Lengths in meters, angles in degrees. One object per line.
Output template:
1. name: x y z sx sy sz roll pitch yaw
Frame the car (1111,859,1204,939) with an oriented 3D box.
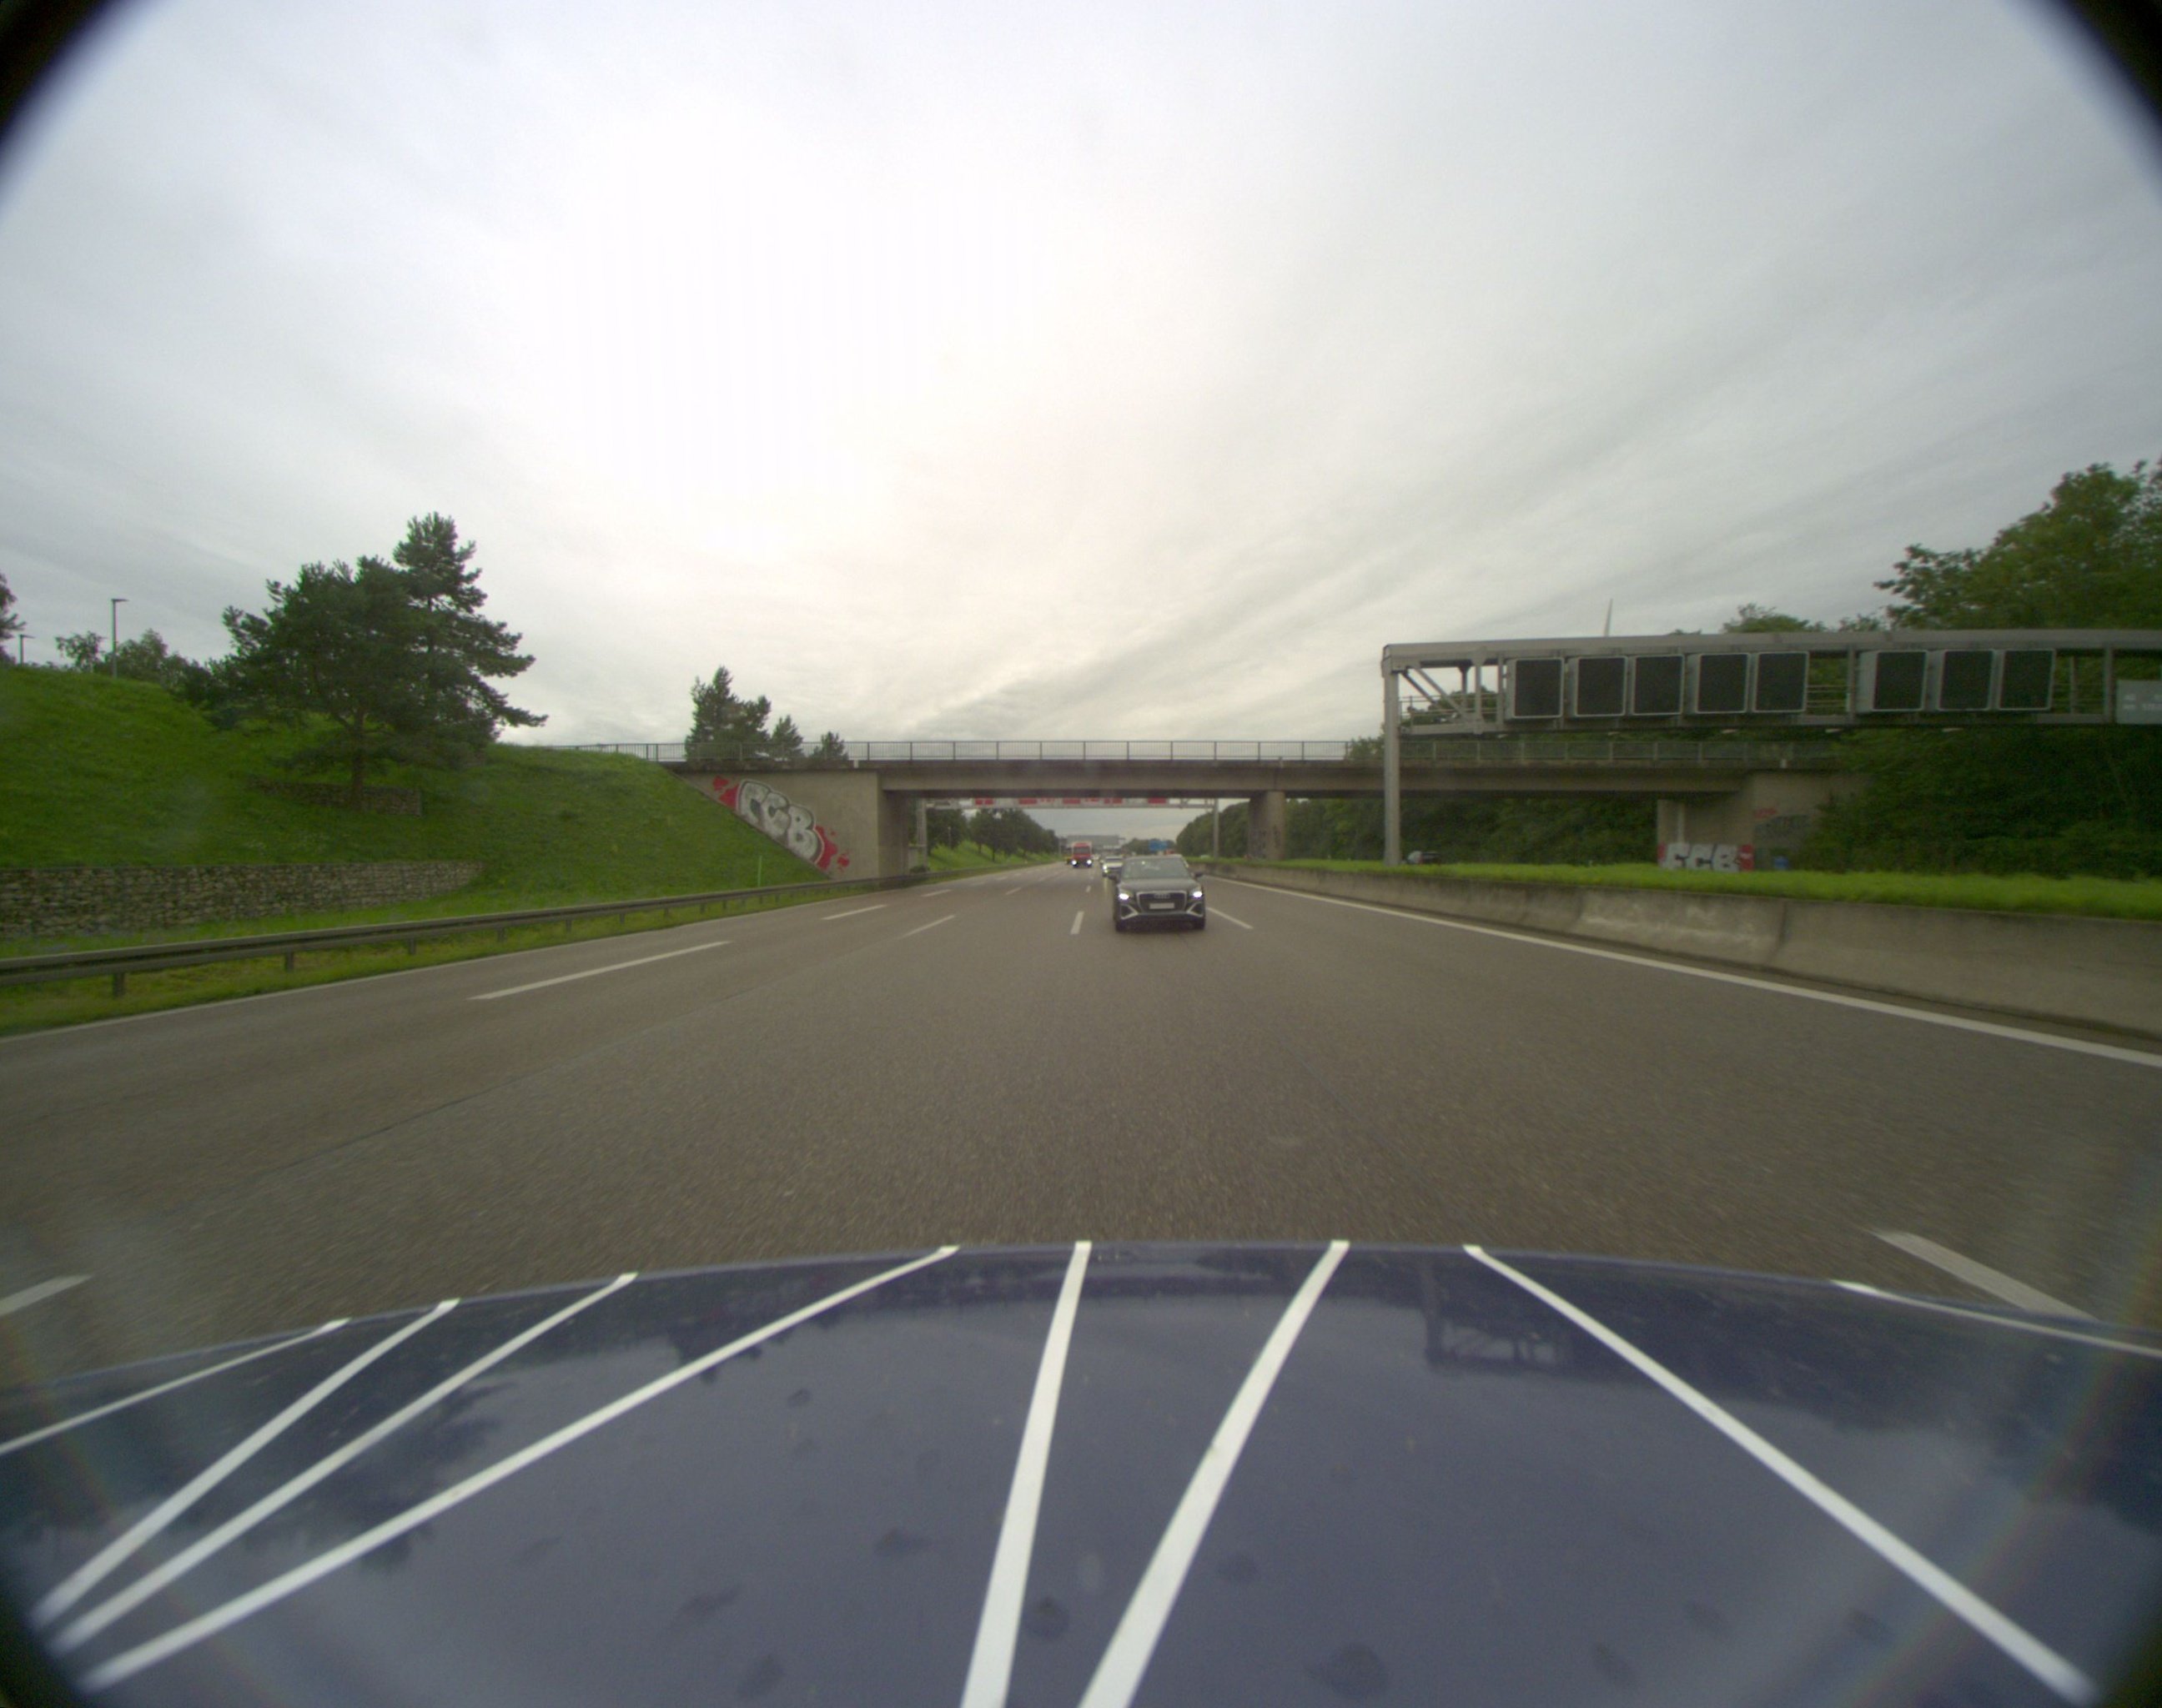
1. car: 1.522 0.865 16.076 1.616 1.403 3.326 -2 1 1

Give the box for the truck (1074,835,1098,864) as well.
1. truck: 0.780 -0.675 105.496 2.836 3.634 10.672 -2 1 3

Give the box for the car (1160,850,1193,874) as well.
1. car: 6.644 0.522 53.078 1.757 1.608 4.663 -1 0 1

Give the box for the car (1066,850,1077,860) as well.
1. car: -1.890 0.164 158.523 1.998 2.002 4.000 -2 1 2

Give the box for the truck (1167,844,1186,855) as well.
1. truck: 32.051 -1.547 254.780 4.842 3.404 11.274 -2 1 1

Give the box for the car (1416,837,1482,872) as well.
1. car: 21.791 0.012 45.178 1.998 1.928 3.999 -1 1 1

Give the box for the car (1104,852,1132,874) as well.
1. car: 2.732 0.659 57.231 1.998 1.555 4.910 -1 0 1

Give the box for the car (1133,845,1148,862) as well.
1. car: 7.706 -0.097 98.532 1.725 2.002 3.851 -2 1 1

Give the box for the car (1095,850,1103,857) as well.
1. car: 5.173 -0.074 217.924 1.998 2.002 3.999 -2 1 1

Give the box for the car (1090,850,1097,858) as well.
1. car: 3.073 -0.019 191.768 1.690 1.875 3.741 -2 1 2
